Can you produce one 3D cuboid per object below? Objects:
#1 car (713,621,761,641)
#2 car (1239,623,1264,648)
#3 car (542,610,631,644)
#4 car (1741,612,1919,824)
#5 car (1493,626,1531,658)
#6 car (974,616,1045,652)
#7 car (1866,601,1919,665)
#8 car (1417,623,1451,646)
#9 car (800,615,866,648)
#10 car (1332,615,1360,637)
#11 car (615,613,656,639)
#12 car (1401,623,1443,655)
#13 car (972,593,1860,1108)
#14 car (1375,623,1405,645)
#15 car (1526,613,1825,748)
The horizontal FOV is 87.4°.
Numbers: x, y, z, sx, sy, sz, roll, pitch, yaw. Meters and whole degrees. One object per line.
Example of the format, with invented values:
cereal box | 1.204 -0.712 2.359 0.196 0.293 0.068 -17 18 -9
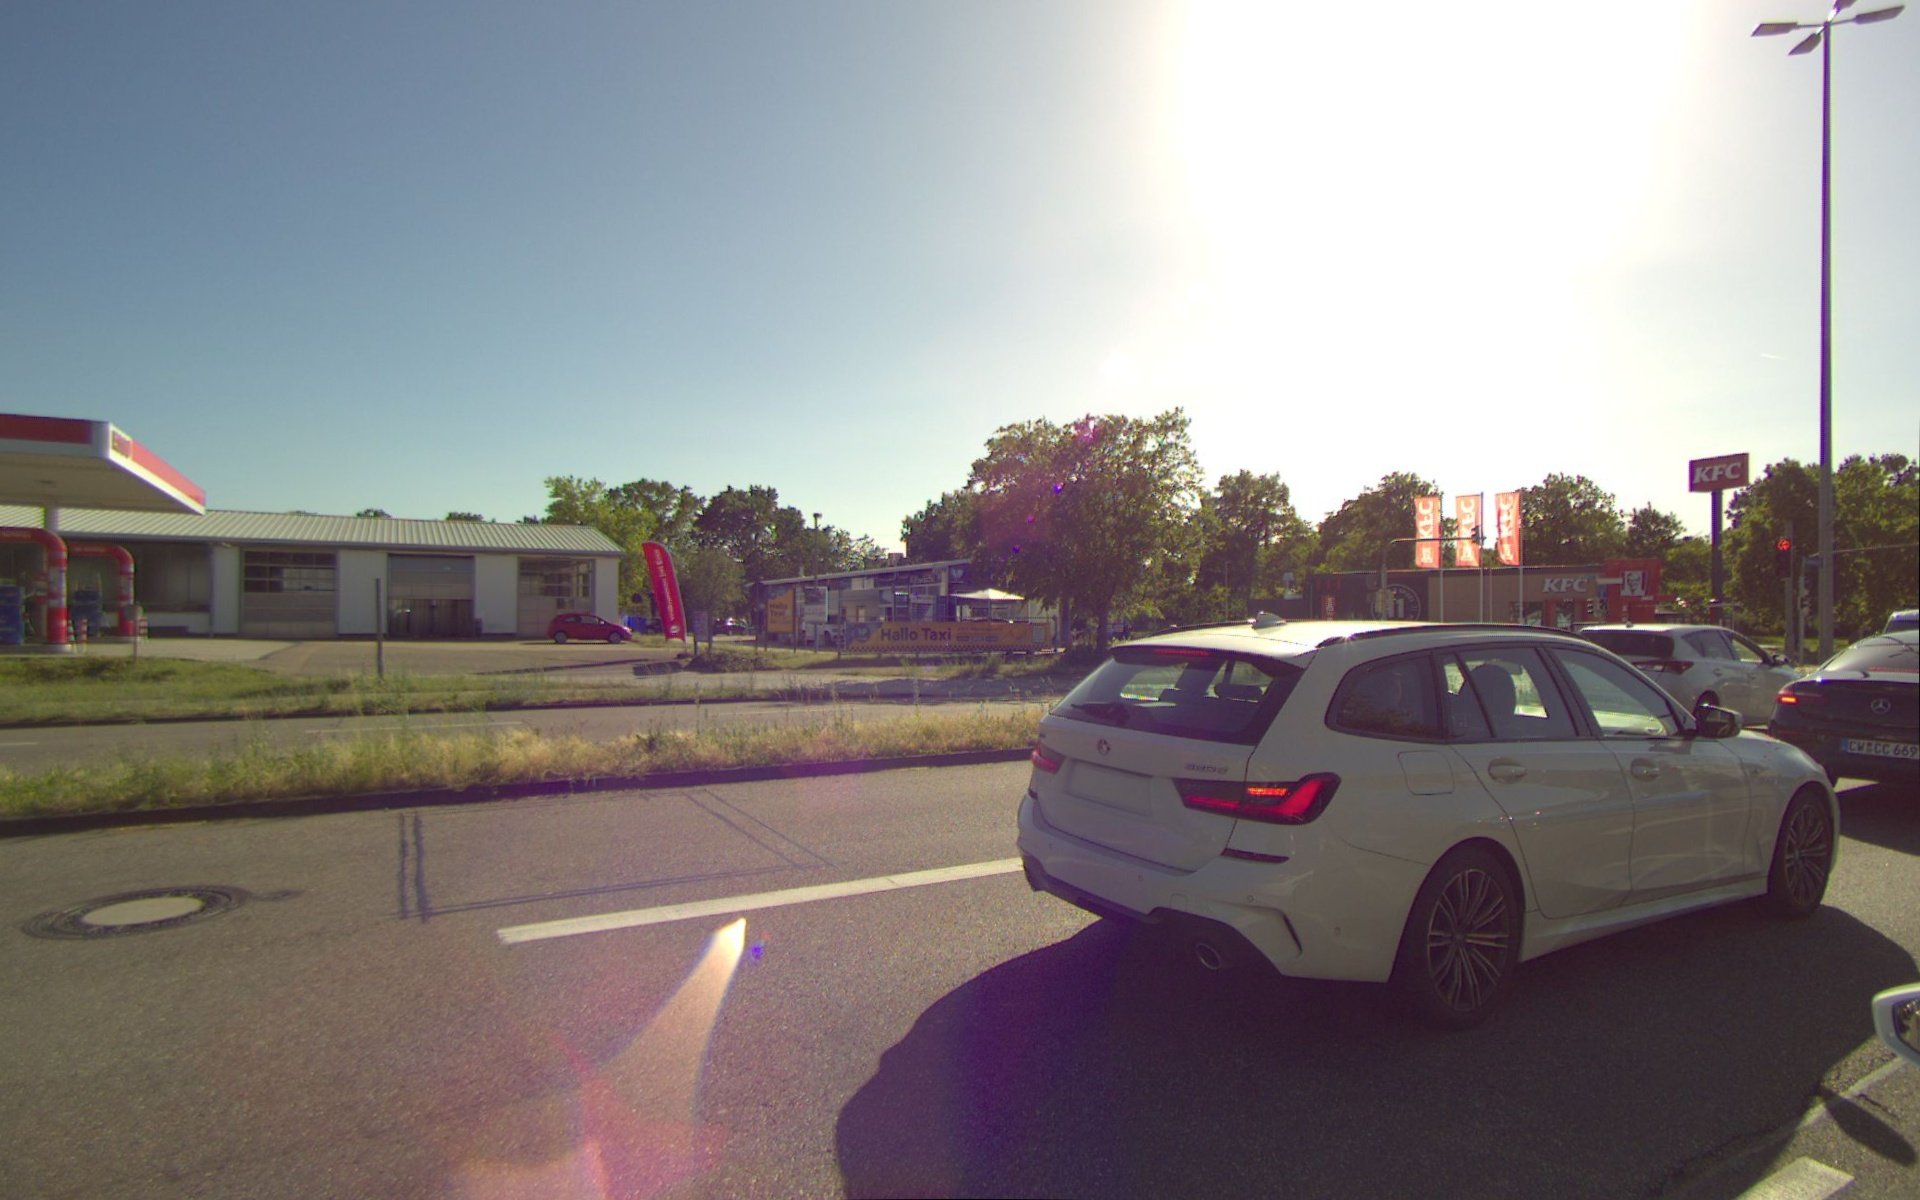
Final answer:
car | -19.385 2.708 87.539 3.929 1.634 1.996 2 0 -11
car | 21.799 2.613 75.151 1.629 1.695 3.945 2 0 18
car | -18.358 1.326 49.401 3.946 1.537 1.772 2 0 -25
car | 8.767 0.929 8.635 4.425 1.510 1.787 2 0 -31
car | 33.078 2.467 60.201 1.880 1.776 4.349 2 0 29
car | 2.386 1.660 49.554 1.839 1.613 3.974 2 0 -26
car | 39.664 1.383 41.218 5.754 2.478 2.013 2 -4 -31
car | 33.922 2.447 71.946 1.629 1.491 3.919 2 0 18
car | -6.742 1.639 53.055 1.978 1.584 3.964 2 0 -32
car | 28.278 1.886 73.654 1.629 1.491 3.919 2 0 18
car | -19.298 1.536 59.662 1.634 1.383 3.744 2 0 -29
car | 28.332 2.336 61.518 1.964 1.788 4.349 2 0 29
car | 2.376 0.796 4.871 4.353 1.510 1.776 2 0 -31
car | 31.289 2.437 73.219 1.629 1.491 3.919 2 0 18
car | 9.584 0.999 13.388 4.150 1.510 1.750 2 0 -31
